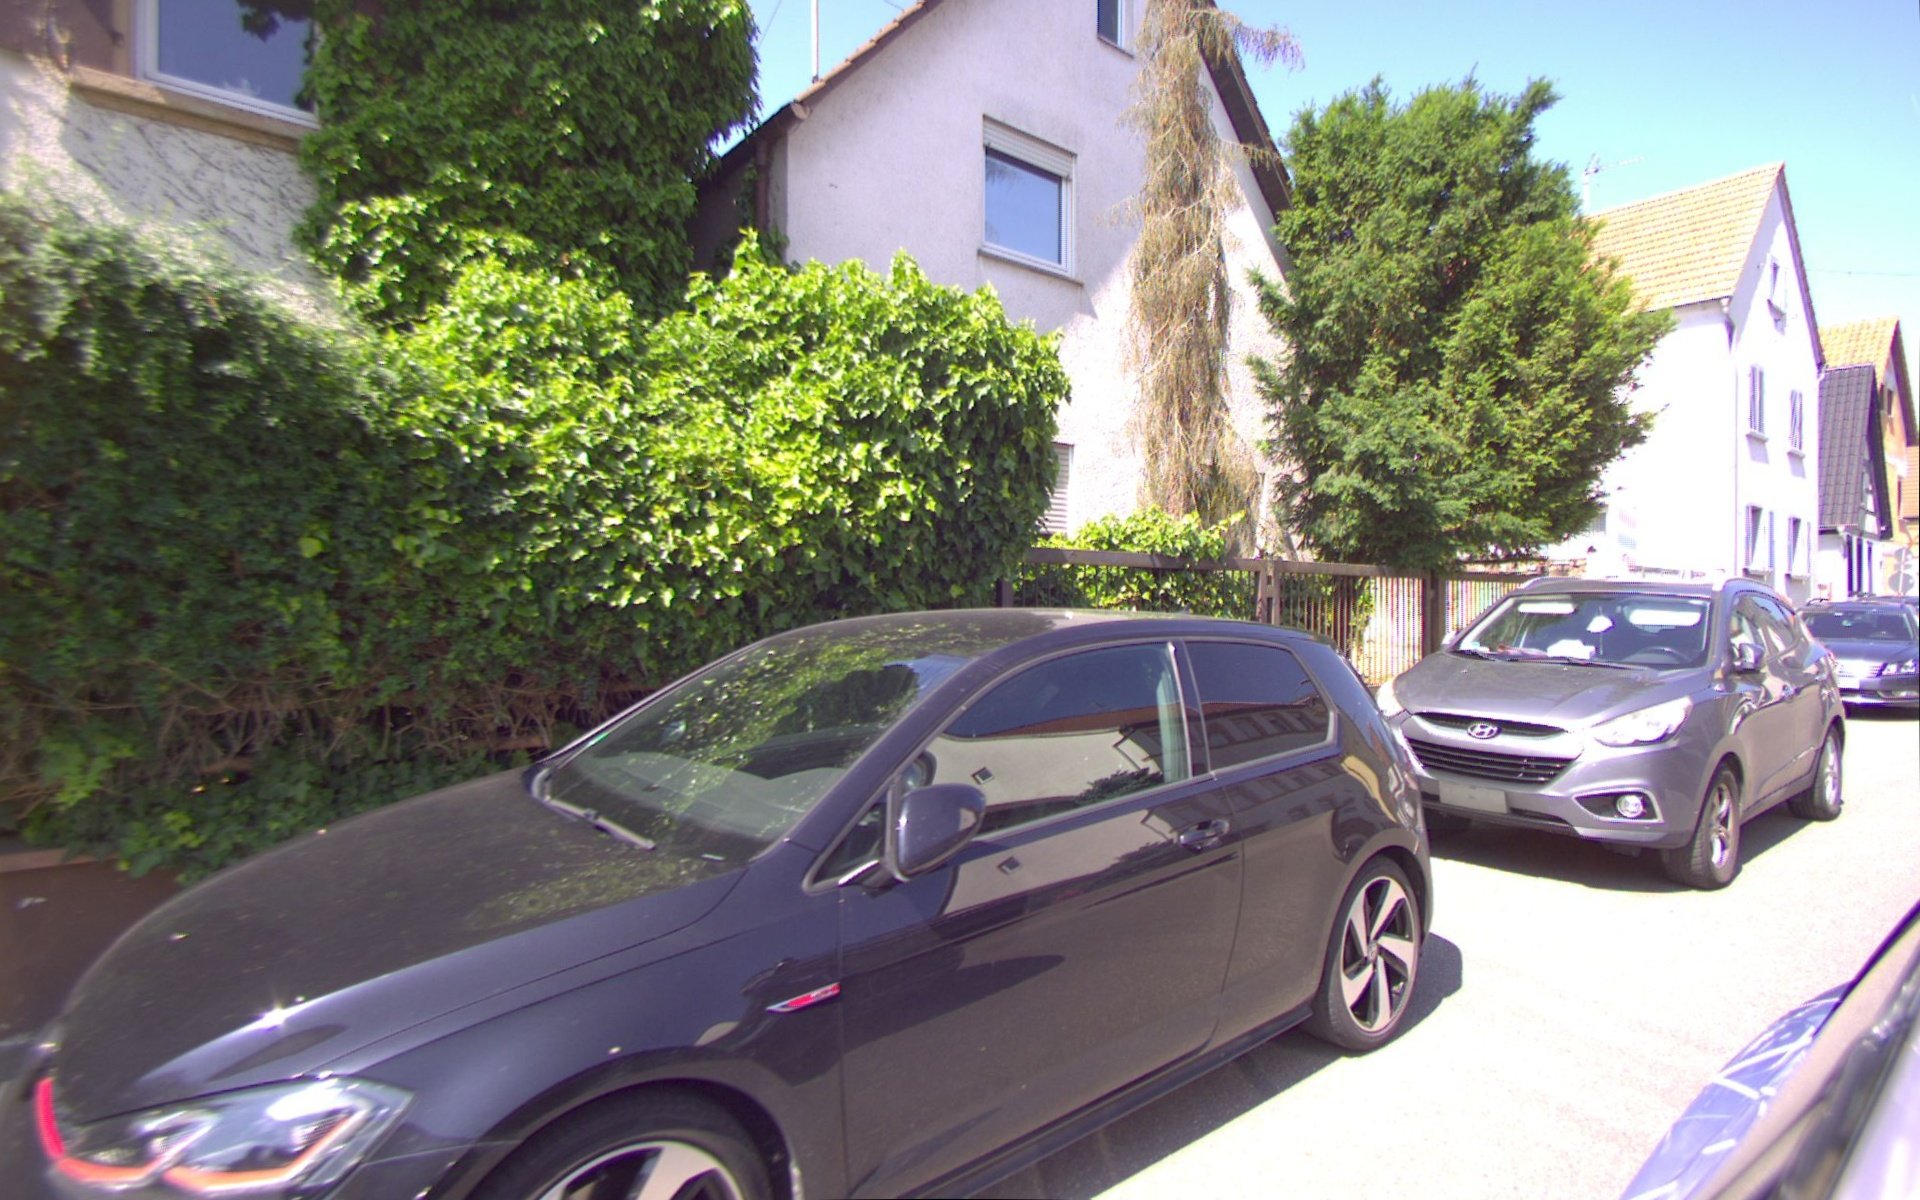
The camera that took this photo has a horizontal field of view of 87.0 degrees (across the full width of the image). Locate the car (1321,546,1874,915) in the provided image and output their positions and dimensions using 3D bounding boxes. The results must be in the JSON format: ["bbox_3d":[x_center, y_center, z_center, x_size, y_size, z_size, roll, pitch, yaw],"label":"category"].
[{"bbox_3d":[4.338,0.590,6.594,4.282,1.652,1.798,1,0,-39],"label":"car"}]

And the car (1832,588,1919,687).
[{"bbox_3d":[16.980,0.594,17.797,4.549,1.580,1.801,0,0,-40],"label":"car"}]

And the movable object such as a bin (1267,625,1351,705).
[{"bbox_3d":[4.590,0.835,13.337,0.560,0.961,0.883,1,1,-42],"label":"movable object such as a bin"}]

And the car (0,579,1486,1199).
[{"bbox_3d":[-0.184,0.704,3.038,3.992,1.482,1.716,0,1,-40],"label":"car"}]

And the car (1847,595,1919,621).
[{"bbox_3d":[55.302,0.471,59.208,1.960,1.470,4.773,0,0,-29],"label":"car"}]

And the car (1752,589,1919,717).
[{"bbox_3d":[12.718,0.629,14.170,4.503,1.527,1.822,0,0,-42],"label":"car"}]
